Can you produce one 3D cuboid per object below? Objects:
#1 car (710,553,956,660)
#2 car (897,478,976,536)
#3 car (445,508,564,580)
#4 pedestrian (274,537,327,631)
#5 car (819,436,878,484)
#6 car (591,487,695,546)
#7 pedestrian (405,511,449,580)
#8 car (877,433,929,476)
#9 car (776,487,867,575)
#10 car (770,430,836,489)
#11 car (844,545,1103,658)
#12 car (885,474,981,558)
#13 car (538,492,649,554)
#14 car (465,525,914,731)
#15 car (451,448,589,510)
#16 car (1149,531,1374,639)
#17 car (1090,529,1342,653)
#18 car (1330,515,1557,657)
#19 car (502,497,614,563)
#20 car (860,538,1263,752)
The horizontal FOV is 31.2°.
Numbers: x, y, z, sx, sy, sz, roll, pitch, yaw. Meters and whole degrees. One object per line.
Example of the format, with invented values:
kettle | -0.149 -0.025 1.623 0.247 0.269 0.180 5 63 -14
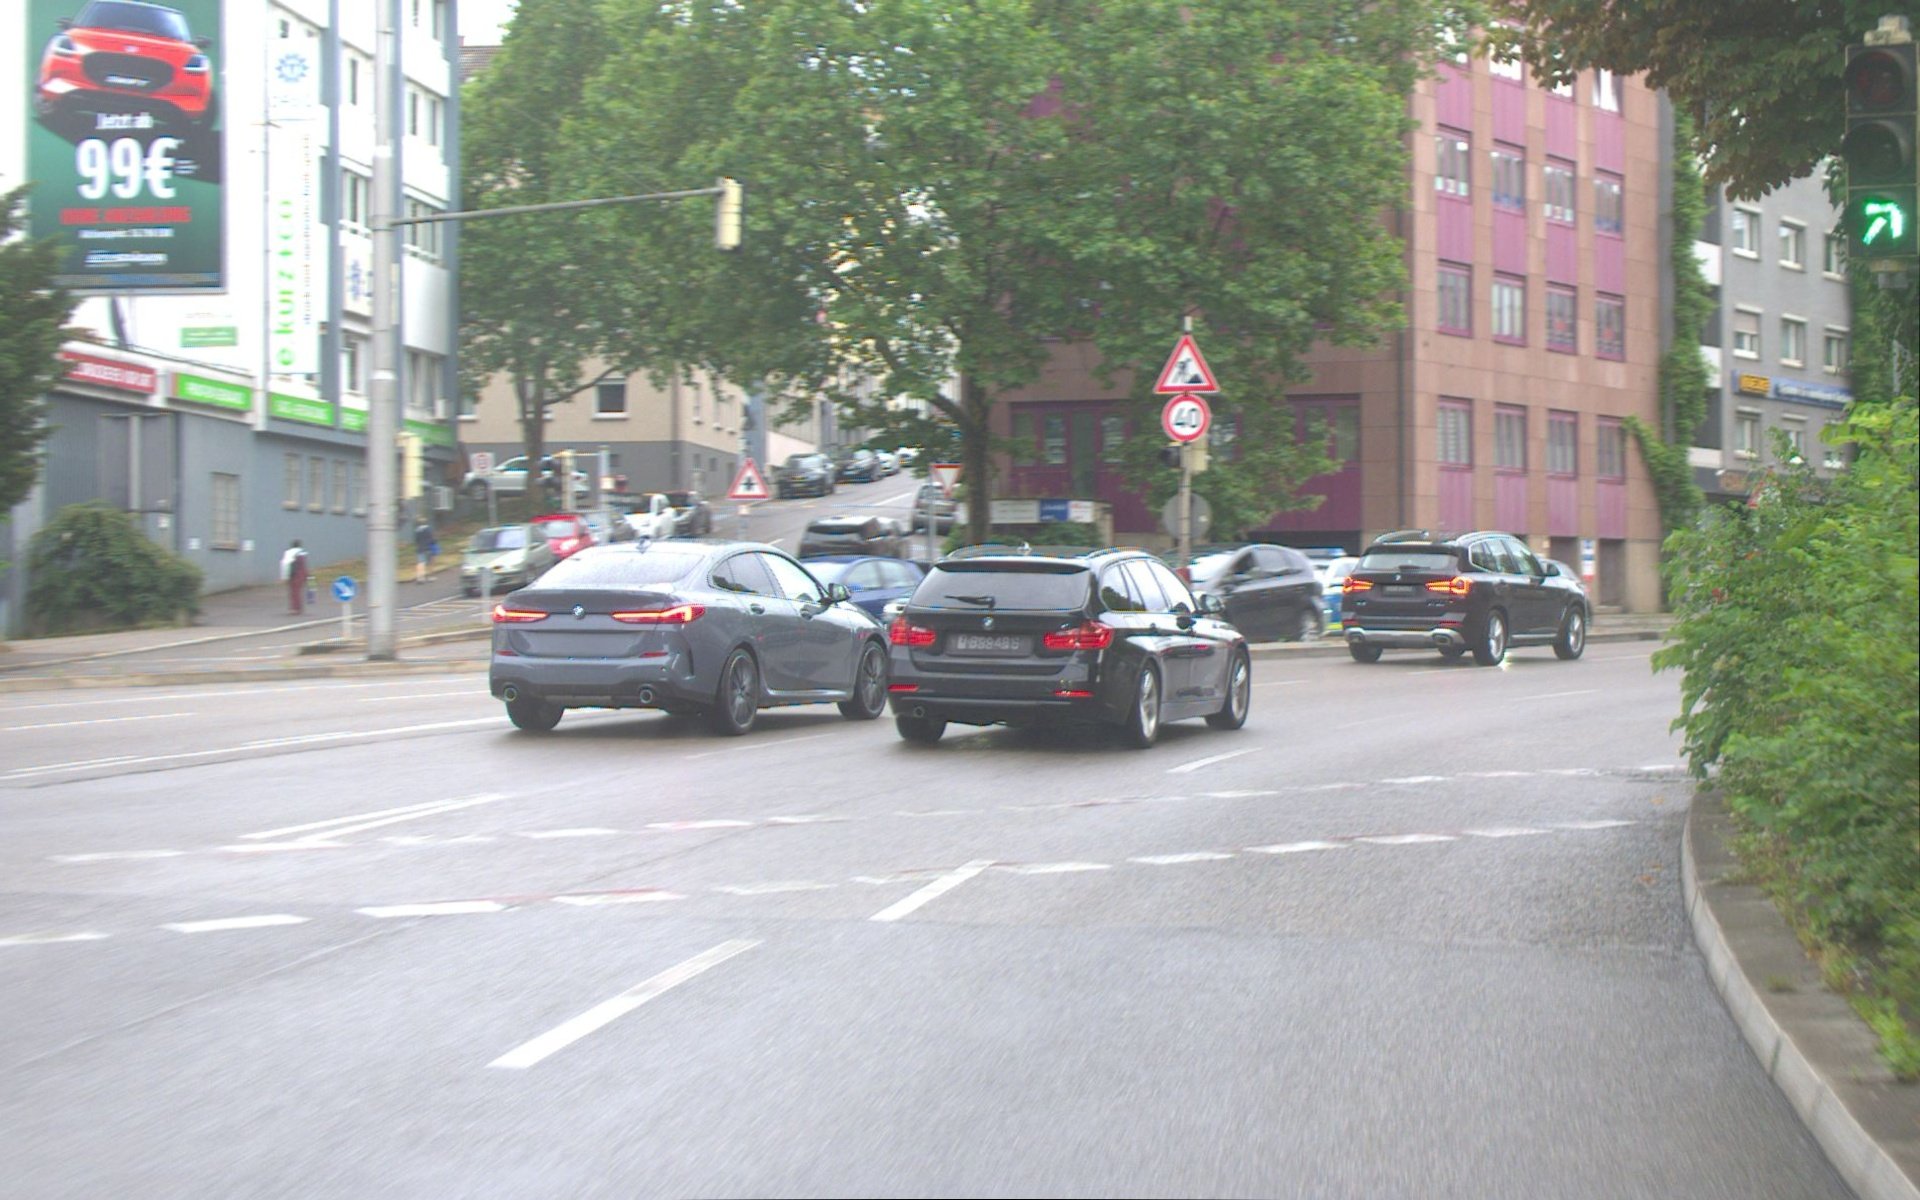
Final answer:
car | -1.836 0.087 51.034 1.765 1.507 4.114 -1 0 29
car | -0.694 -2.852 104.762 1.931 1.668 4.000 -1 3 7
car | -11.065 -1.383 83.748 1.833 1.458 4.177 -1 5 7
pedestrian | -14.163 -0.337 73.818 0.839 2.007 0.981 -1 0 6
car | -4.601 -5.821 142.299 1.994 1.836 4.000 -1 4 5
car | -9.041 -2.398 98.448 1.834 1.425 4.069 -1 5 11
pedestrian | -13.336 -1.355 86.055 0.839 1.712 0.981 -1 0 6
car | -2.587 -6.671 157.654 1.994 1.836 4.000 -1 4 5
car | -3.250 -1.649 81.262 1.931 1.861 4.001 1 4 1
car | -5.849 -5.238 128.503 1.994 2.007 3.999 -1 0 5
car | 0.243 0.019 48.601 1.820 1.507 4.226 -1 0 29
car | -0.666 -2.176 88.127 1.931 1.861 4.000 -1 5 7
car | -9.969 -2.118 93.719 1.834 1.425 4.069 -1 5 11
car | -1.945 0.202 26.216 1.792 1.422 4.380 -1 0 19
car | -15.140 -4.163 118.468 4.417 1.999 2.000 -1 0 2
car | 4.974 -0.239 56.103 1.769 1.676 4.582 -1 0 32
car | 3.651 -0.138 48.286 1.856 1.617 4.585 -2 0 27
car | 6.157 -0.166 43.449 1.902 1.688 3.995 -1 0 22
car | -10.398 -1.830 89.267 1.833 1.425 4.070 -1 5 9
car | 0.861 0.266 25.364 1.793 1.421 4.609 0 1 17
